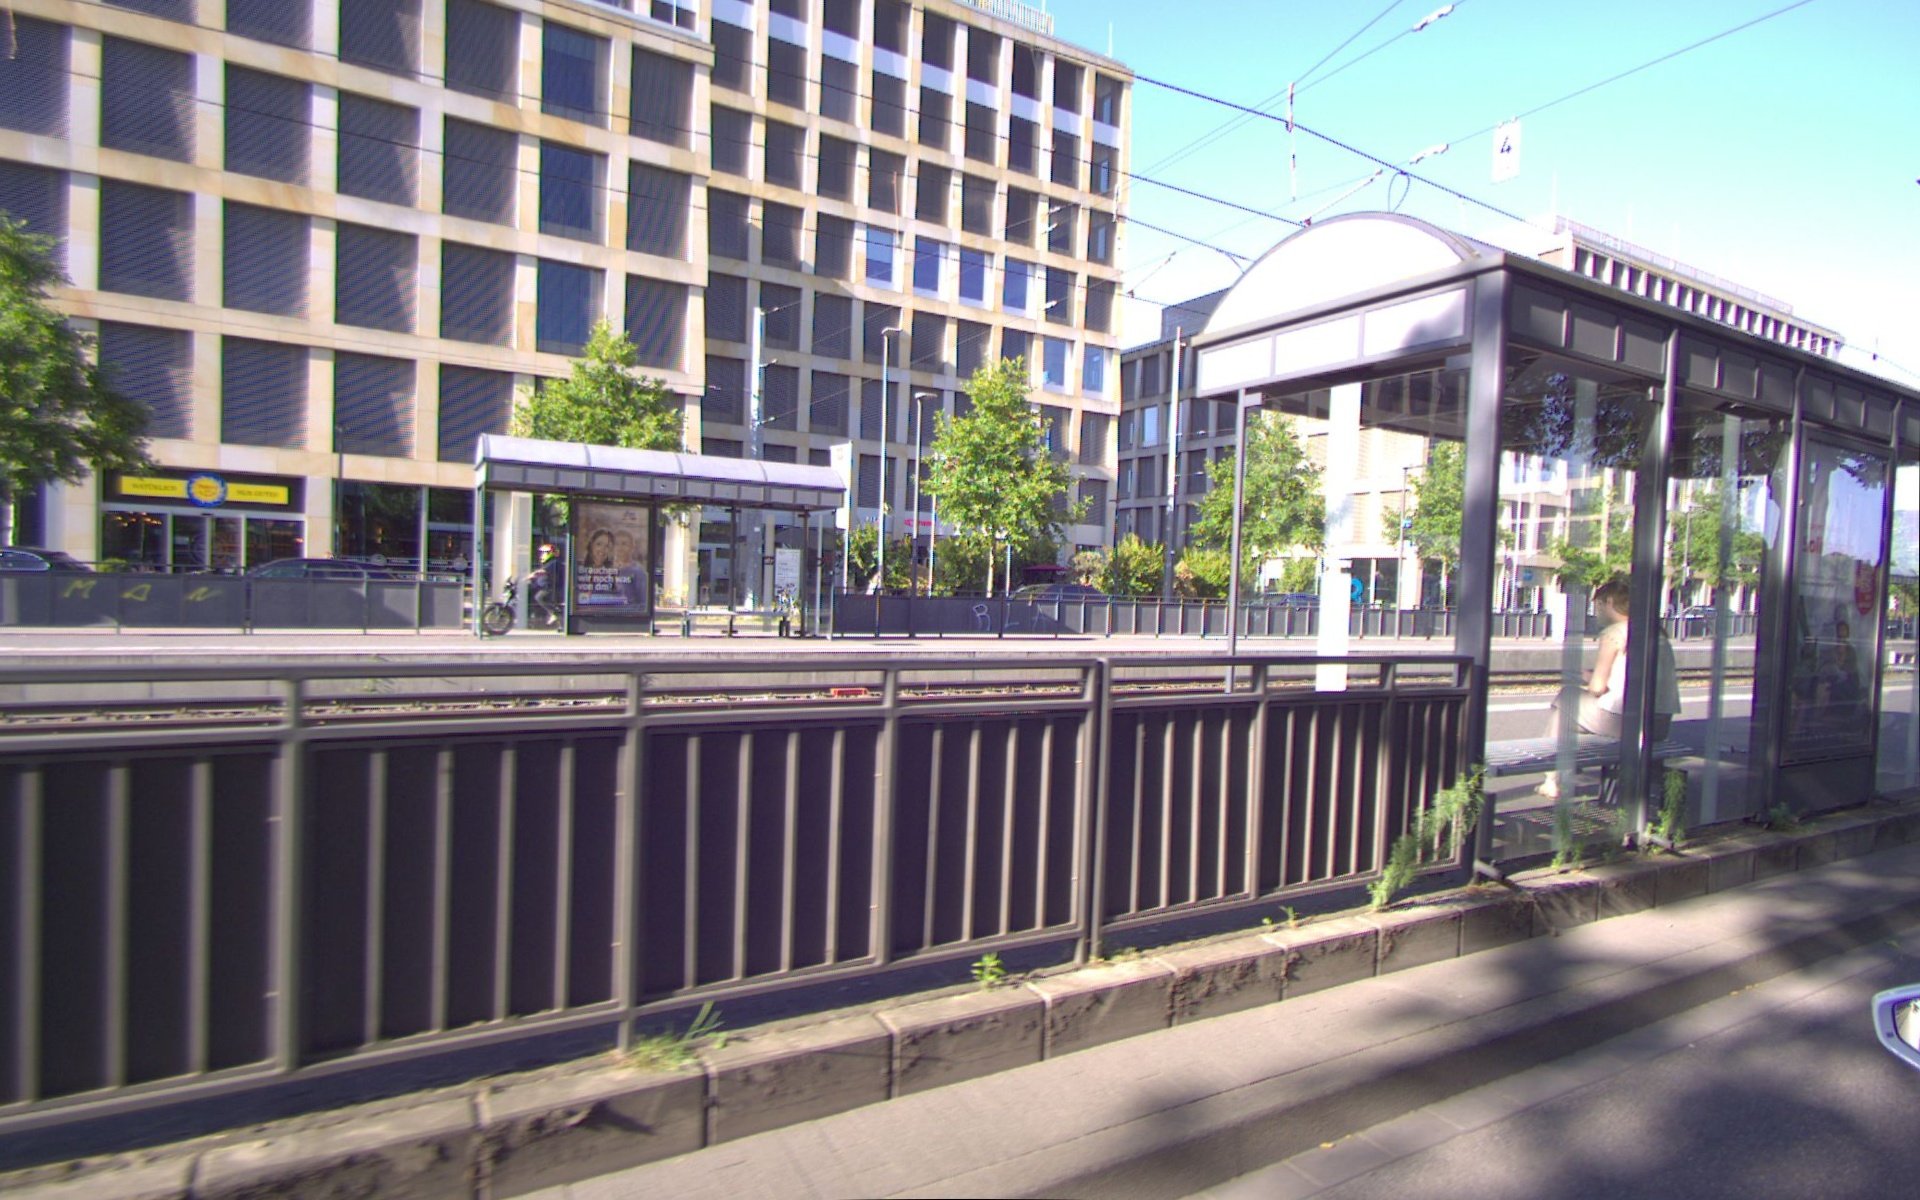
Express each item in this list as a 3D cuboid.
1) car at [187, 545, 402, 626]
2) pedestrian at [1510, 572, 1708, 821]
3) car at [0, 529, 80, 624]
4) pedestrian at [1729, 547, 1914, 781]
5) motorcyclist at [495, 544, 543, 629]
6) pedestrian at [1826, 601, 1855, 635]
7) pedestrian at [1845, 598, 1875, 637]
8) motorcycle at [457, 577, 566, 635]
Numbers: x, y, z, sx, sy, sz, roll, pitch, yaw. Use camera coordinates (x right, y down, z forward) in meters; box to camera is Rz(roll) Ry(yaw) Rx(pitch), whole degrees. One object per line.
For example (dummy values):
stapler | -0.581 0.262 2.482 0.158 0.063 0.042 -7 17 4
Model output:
car | -13.618 -0.283 20.802 3.557 1.532 1.637 1 2 -30
pedestrian | 3.654 0.500 5.685 0.518 1.291 0.738 1 2 -30
car | -18.605 -0.483 17.964 3.952 1.685 1.984 1 2 -30
pedestrian | 6.012 0.413 7.031 0.657 1.529 0.743 1 1 -27
motorcyclist | -8.272 -0.249 18.851 0.755 1.554 0.573 1 2 -29
pedestrian | 35.100 0.715 40.042 0.715 1.277 0.612 2 2 -26
pedestrian | 37.146 0.726 41.463 0.714 1.548 0.613 2 2 -21
motorcycle | -8.393 0.117 18.822 1.819 1.035 0.602 1 1 -29
